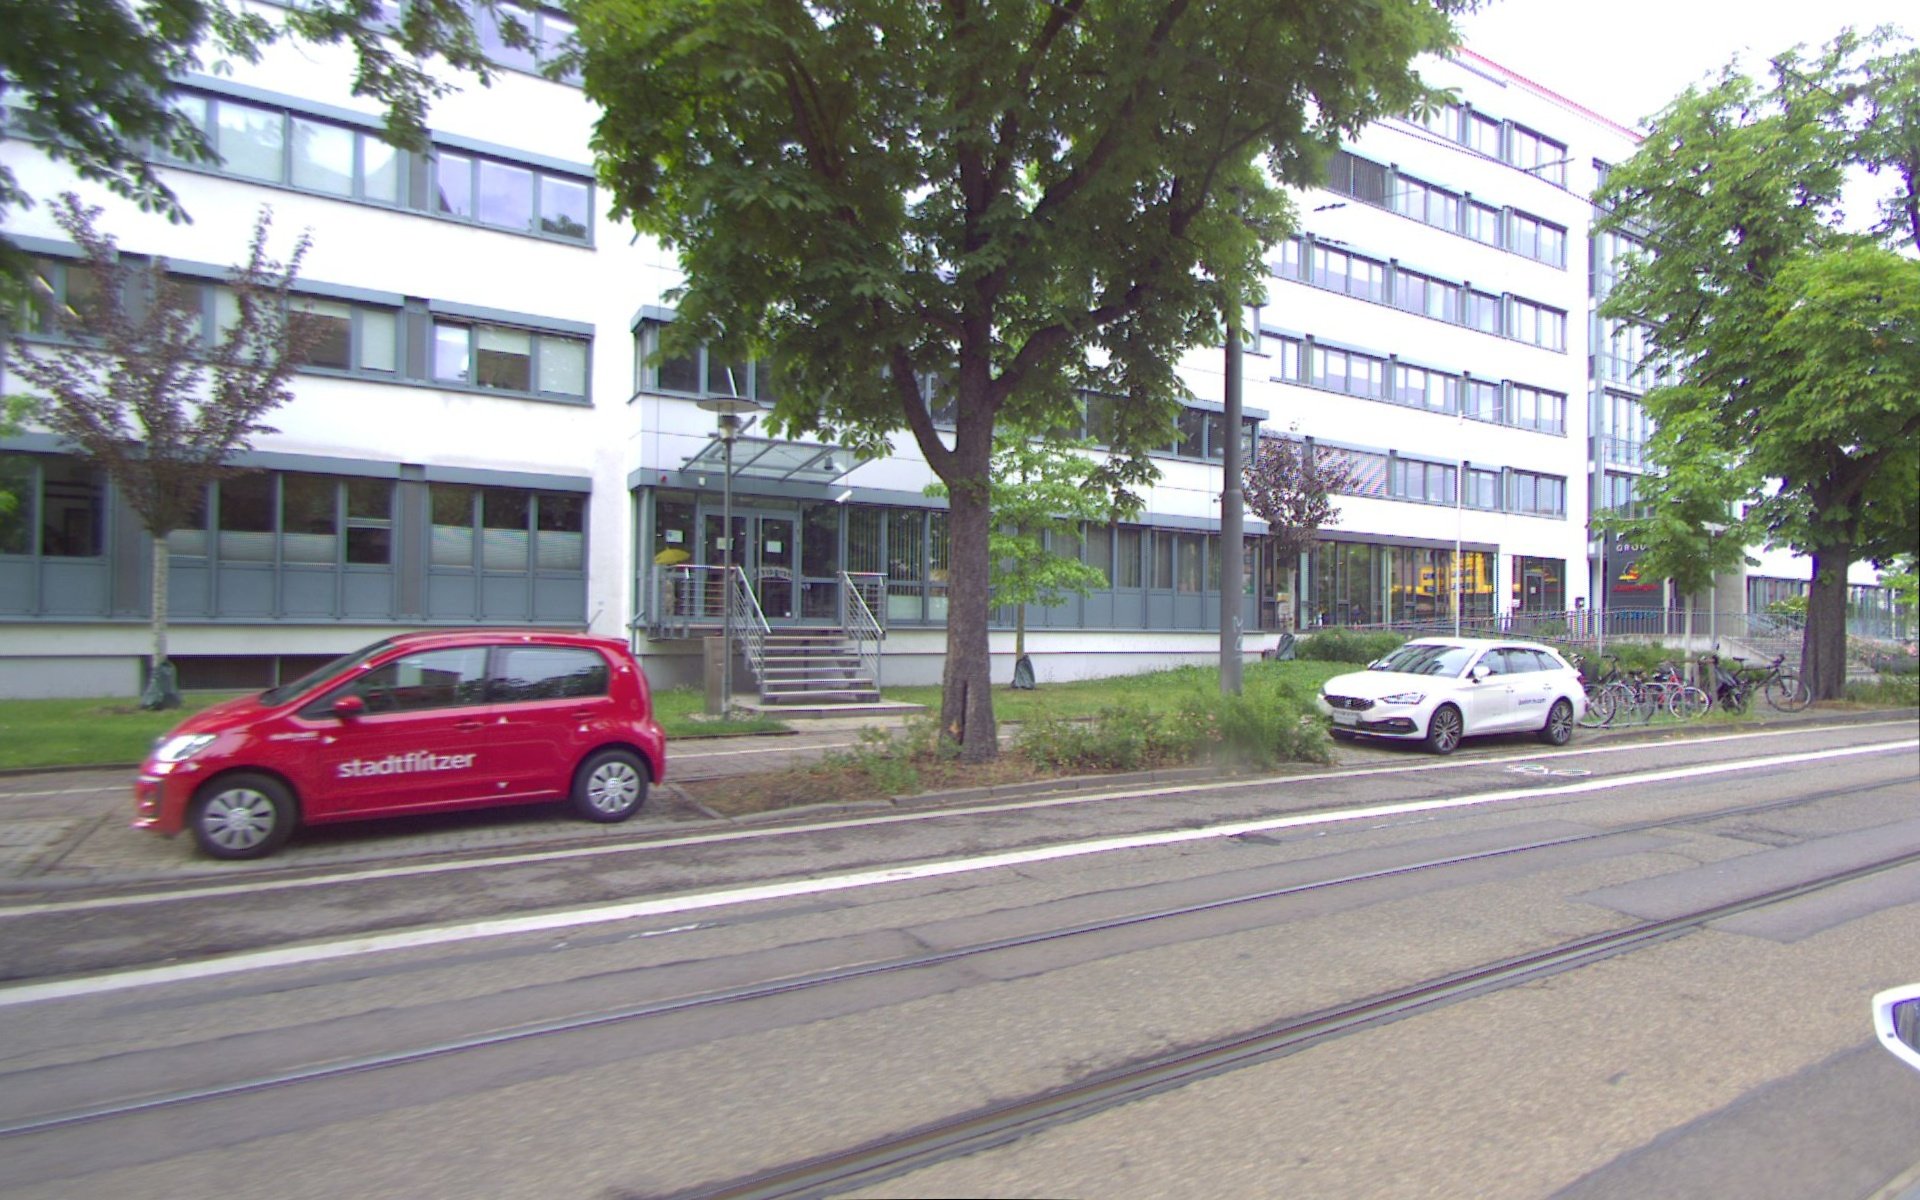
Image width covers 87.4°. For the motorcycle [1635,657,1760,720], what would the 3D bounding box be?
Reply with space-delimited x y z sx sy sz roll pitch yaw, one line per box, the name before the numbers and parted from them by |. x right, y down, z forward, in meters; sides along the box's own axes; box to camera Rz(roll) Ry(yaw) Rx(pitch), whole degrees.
motorcycle | 13.922 1.639 18.999 0.726 1.064 1.775 2 -2 -36

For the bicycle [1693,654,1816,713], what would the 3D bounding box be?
bicycle | 15.898 1.640 20.133 0.735 1.067 1.814 1 -2 -38

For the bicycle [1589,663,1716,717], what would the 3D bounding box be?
bicycle | 12.616 1.625 18.343 0.626 0.911 1.794 3 -4 -36

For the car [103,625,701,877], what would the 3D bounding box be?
car | -4.128 1.006 7.872 3.718 1.467 1.618 2 1 -34

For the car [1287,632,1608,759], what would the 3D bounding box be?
car | 7.068 1.258 14.443 4.698 1.513 1.872 1 0 -31

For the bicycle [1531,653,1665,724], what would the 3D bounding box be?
bicycle | 10.710 1.457 16.916 0.626 1.114 1.794 3 -4 -36

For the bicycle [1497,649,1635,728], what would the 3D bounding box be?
bicycle | 9.762 1.399 16.261 0.624 1.202 1.859 1 -3 -25
